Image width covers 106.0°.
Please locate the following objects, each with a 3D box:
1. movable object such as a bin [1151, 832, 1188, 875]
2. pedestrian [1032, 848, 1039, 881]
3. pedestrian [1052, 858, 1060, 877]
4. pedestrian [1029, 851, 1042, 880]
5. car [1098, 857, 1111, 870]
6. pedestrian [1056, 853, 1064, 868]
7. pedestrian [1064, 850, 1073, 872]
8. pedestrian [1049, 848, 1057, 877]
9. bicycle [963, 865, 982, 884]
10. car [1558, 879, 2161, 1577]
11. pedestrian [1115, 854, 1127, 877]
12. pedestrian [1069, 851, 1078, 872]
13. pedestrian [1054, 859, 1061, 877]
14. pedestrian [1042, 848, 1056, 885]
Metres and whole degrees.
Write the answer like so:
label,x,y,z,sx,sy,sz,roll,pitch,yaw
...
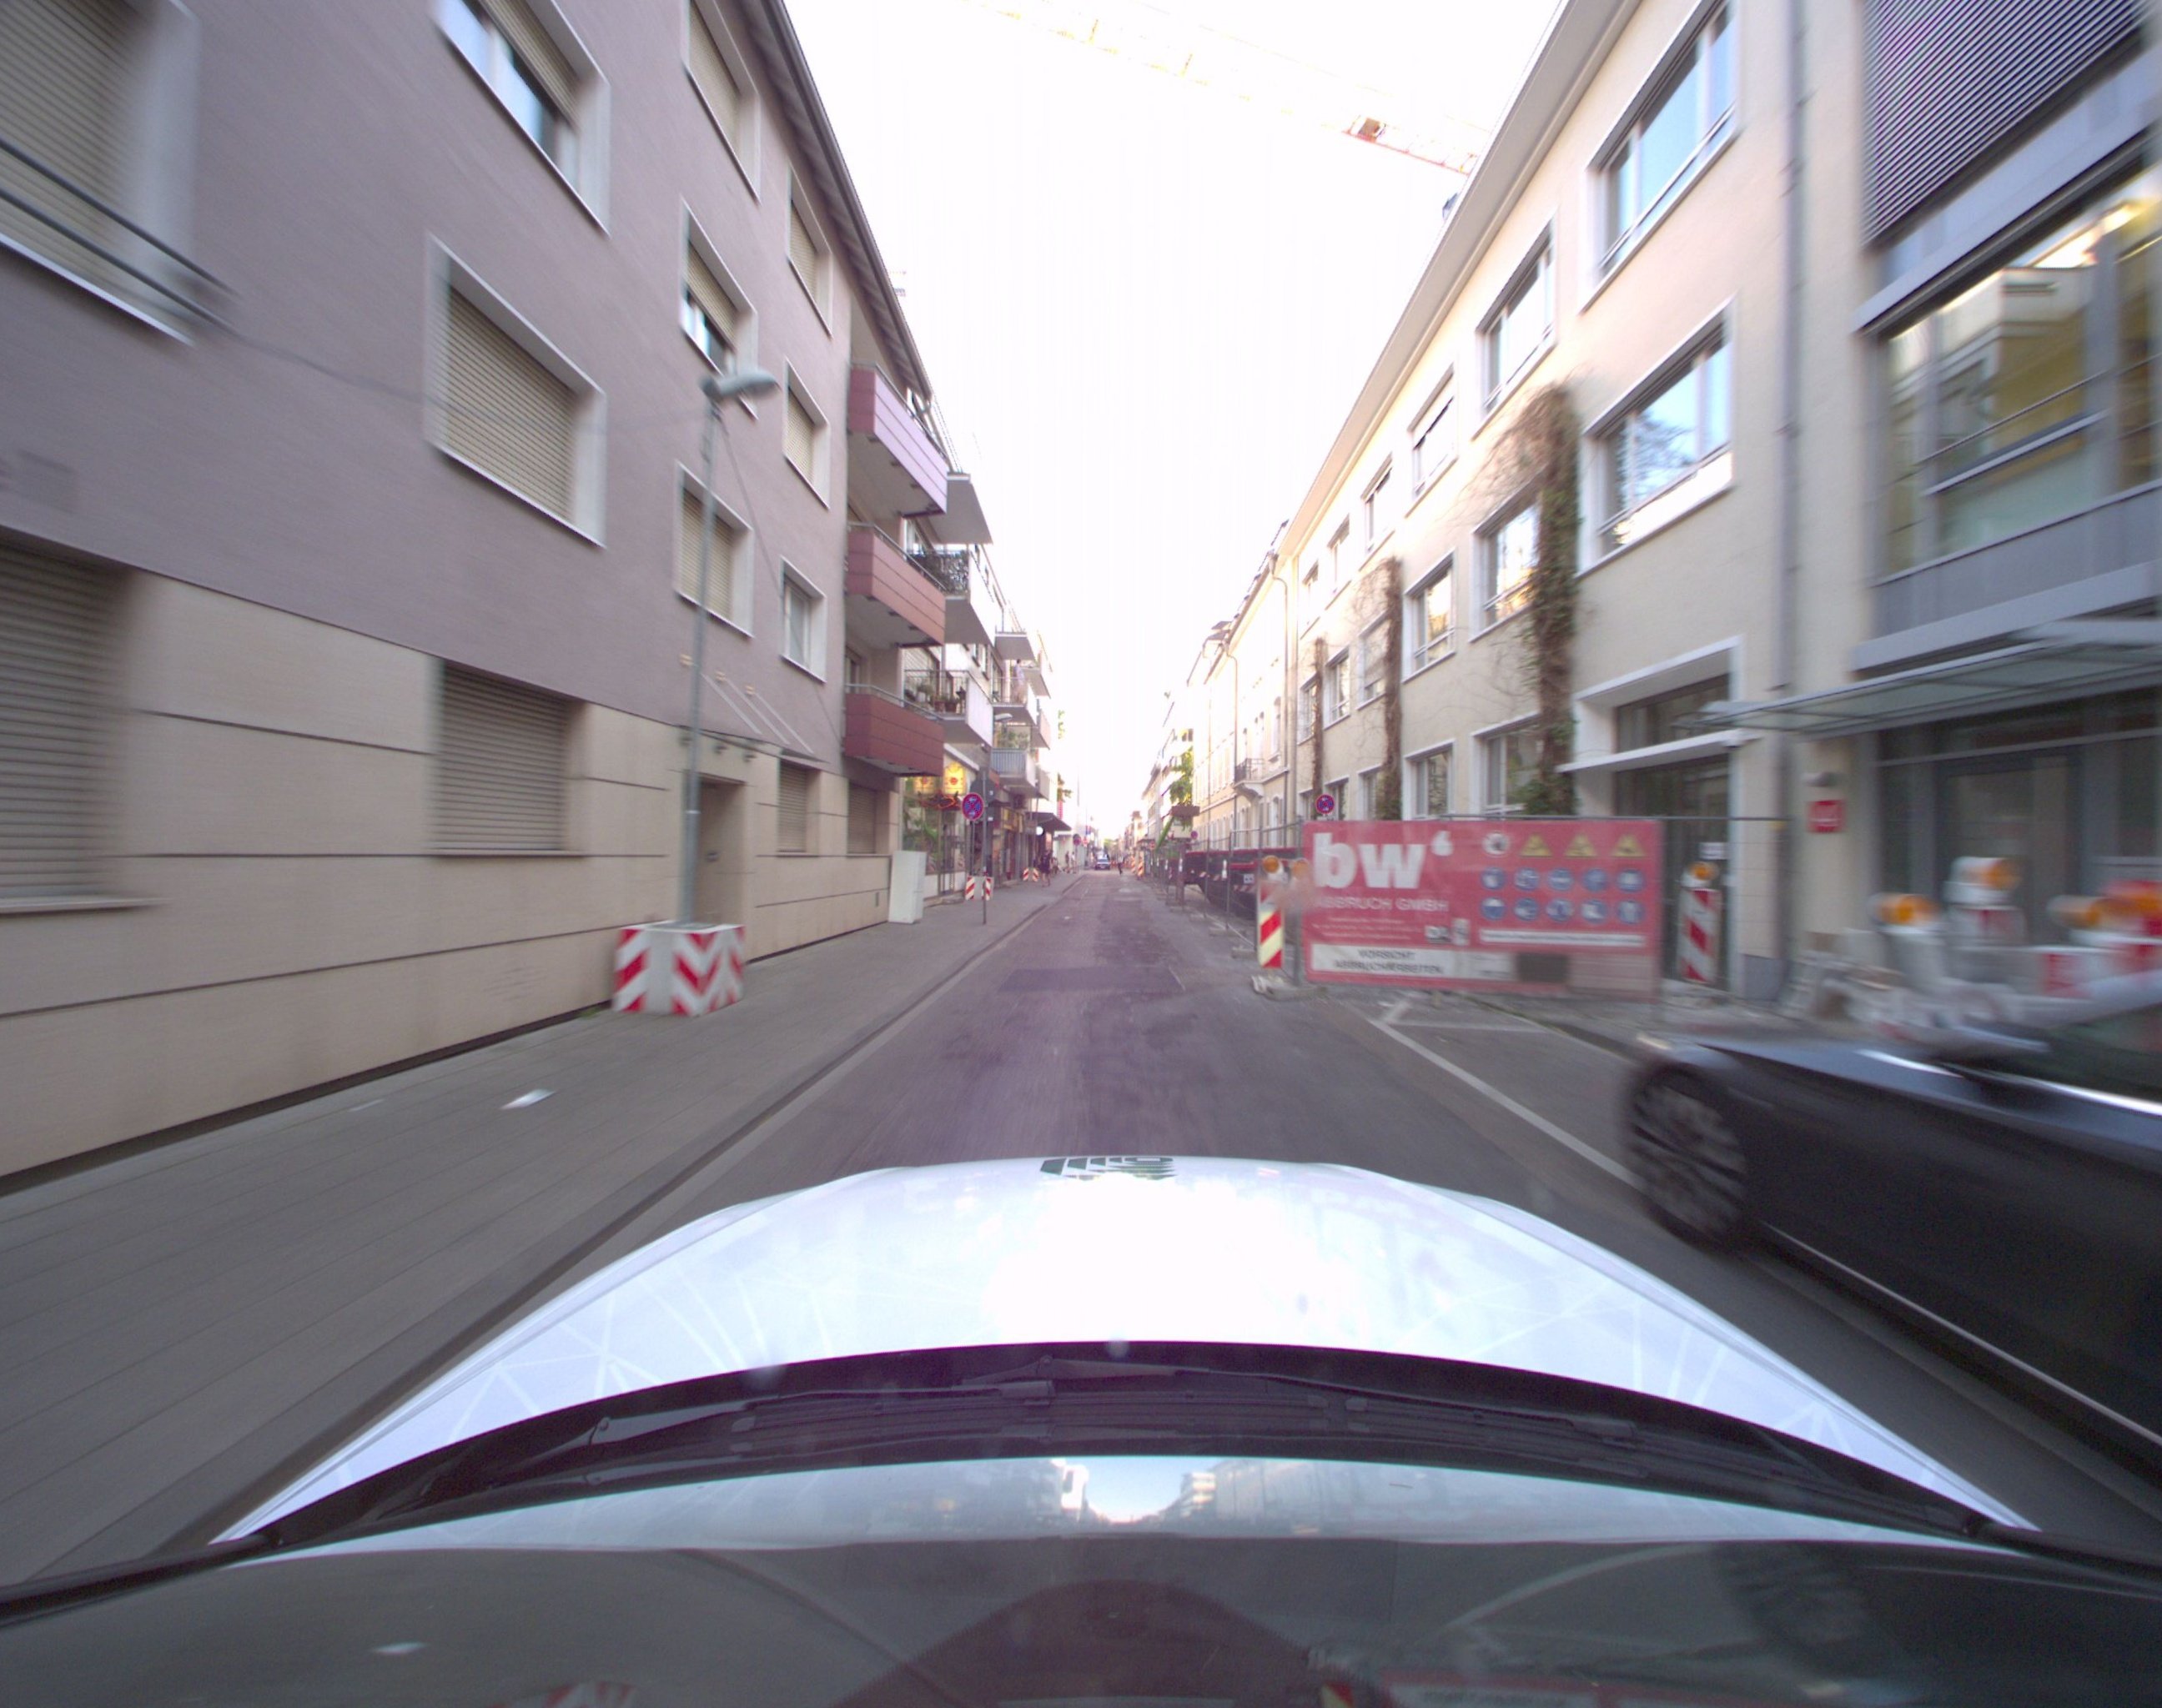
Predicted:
label,x,y,z,sx,sy,sz,roll,pitch,yaw
movable object such as a bin,6.823,-0.097,63.064,2.461,3.130,4.300,1,1,2
pedestrian,-2.842,0.654,50.891,0.409,2.014,0.454,0,-1,-1
pedestrian,-1.870,0.999,60.994,0.556,1.391,0.893,0,0,2
pedestrian,-2.496,0.615,44.594,0.646,1.565,0.628,0,0,-13
car,2.748,1.115,94.640,1.468,1.398,3.333,0,0,2
pedestrian,-1.711,0.547,65.353,0.616,1.172,0.788,0,0,1
pedestrian,-1.055,0.606,69.593,0.646,1.809,0.628,0,0,-15
pedestrian,-1.859,0.549,53.974,0.571,1.886,0.655,0,0,-2
bicycle,-4.619,0.859,34.794,0.520,0.761,1.748,0,0,2
car,3.162,0.855,1.737,1.688,1.406,4.479,1,0,0
pedestrian,3.053,0.857,62.014,0.649,1.740,0.716,0,0,-27
pedestrian,-0.645,0.624,68.688,0.646,1.809,0.628,0,0,-15
pedestrian,-1.780,1.061,62.053,0.540,1.387,0.626,0,0,2
pedestrian,-1.599,0.629,40.205,0.626,1.808,0.648,0,0,3
